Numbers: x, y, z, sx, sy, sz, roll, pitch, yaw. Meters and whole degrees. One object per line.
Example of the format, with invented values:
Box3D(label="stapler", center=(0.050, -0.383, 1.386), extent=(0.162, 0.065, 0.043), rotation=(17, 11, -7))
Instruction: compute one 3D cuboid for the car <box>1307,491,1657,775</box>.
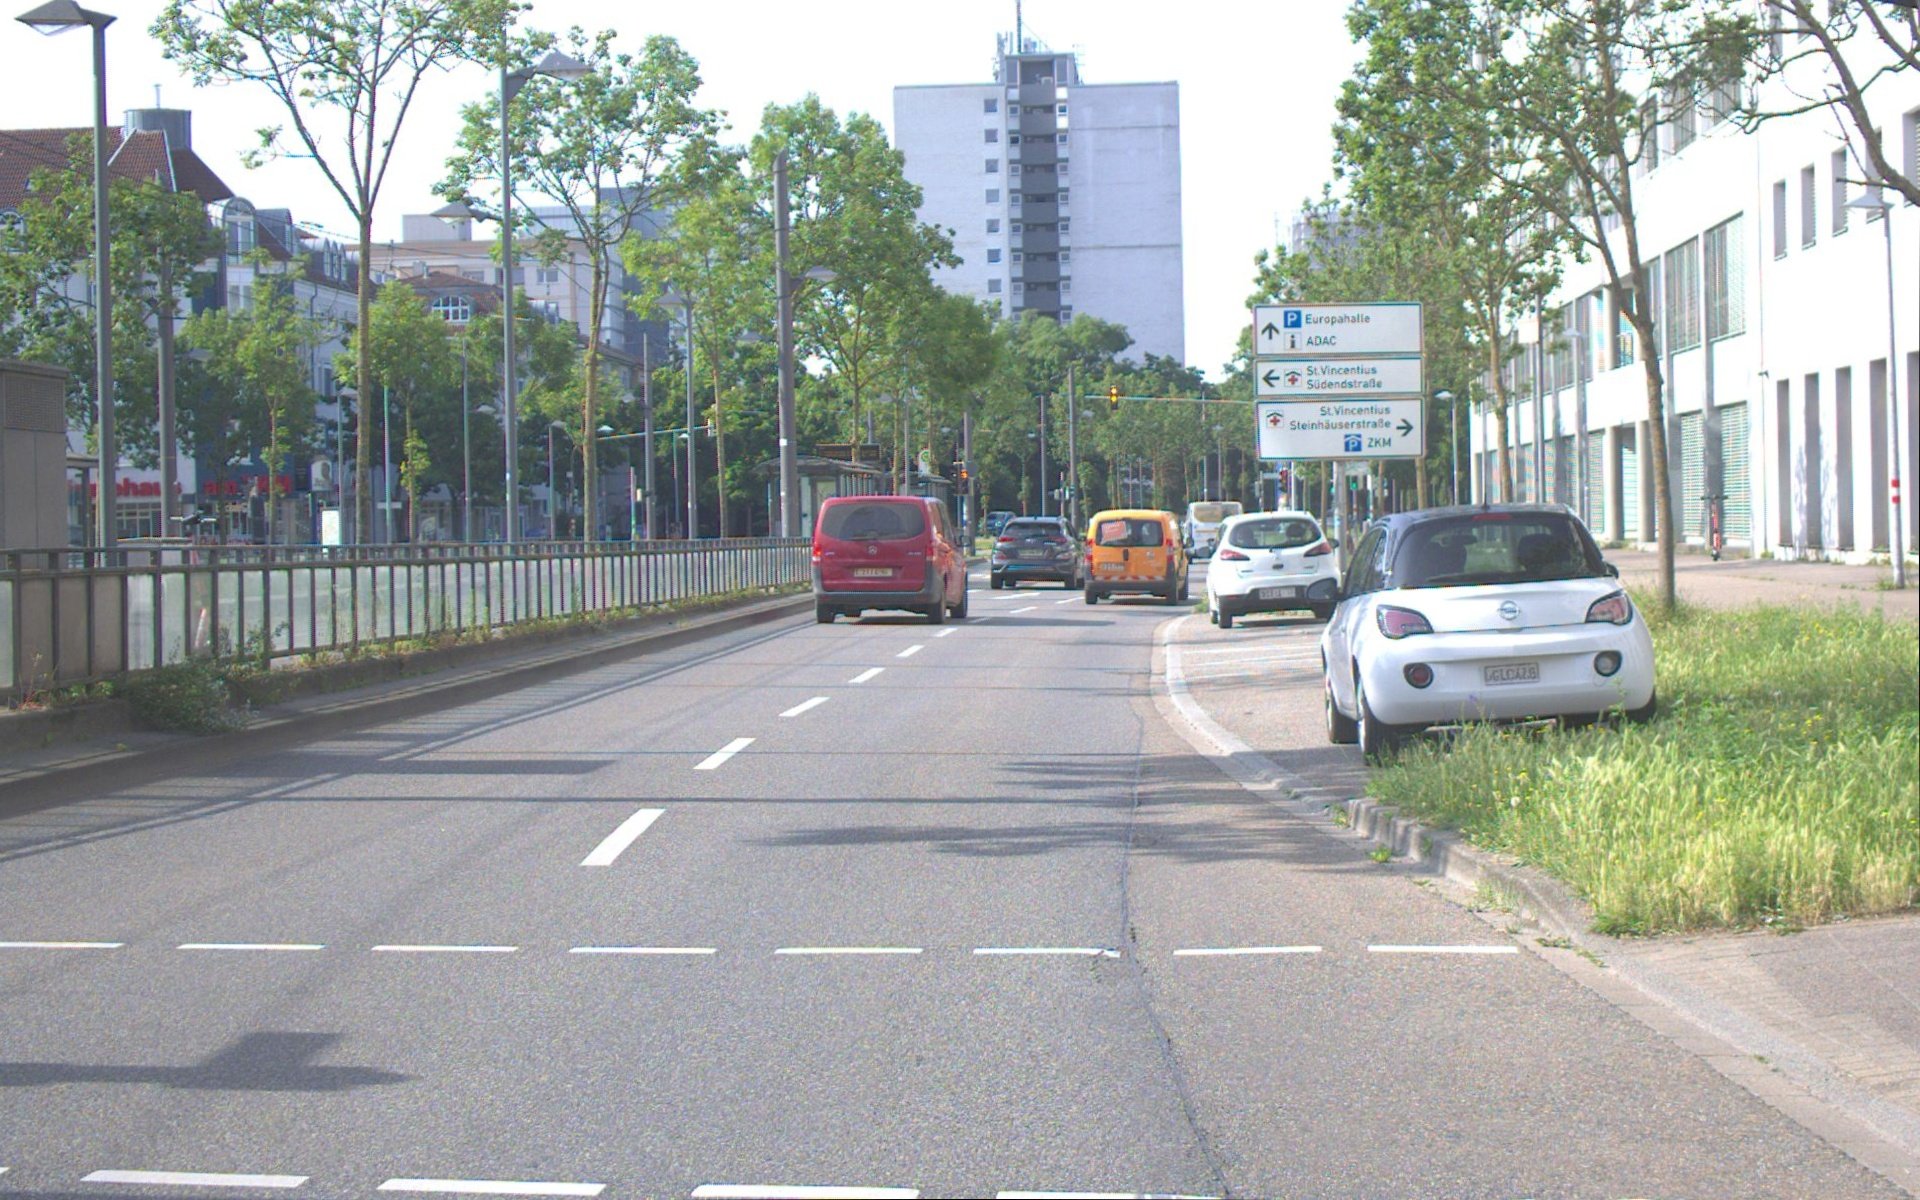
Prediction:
Box3D(label="car", center=(3.117, 0.129, 21.179), extent=(1.720, 1.513, 3.781), rotation=(-1, 2, 3))

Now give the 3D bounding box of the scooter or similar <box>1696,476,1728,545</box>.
Box3D(label="scooter or similar", center=(13.737, -1.639, 62.848), extent=(0.462, 1.209, 1.254), rotation=(-2, 2, 10))

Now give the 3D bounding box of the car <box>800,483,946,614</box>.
Box3D(label="car", center=(-1.255, -0.802, 51.090), extent=(1.874, 1.847, 4.000), rotation=(-1, 2, 2))

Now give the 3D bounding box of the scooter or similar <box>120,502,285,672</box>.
Box3D(label="scooter or similar", center=(-5.757, -0.107, 26.168), extent=(0.427, 1.234, 1.260), rotation=(-1, 2, 31))

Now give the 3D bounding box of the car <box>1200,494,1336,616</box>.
Box3D(label="car", center=(4.200, -0.652, 47.313), extent=(1.689, 1.521, 3.850), rotation=(-3, 2, 4))

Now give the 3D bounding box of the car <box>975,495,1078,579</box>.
Box3D(label="car", center=(1.460, -1.368, 73.890), extent=(1.994, 1.700, 4.000), rotation=(-1, 1, 4))

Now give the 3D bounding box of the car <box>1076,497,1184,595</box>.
Box3D(label="car", center=(3.153, -1.013, 63.105), extent=(1.876, 1.690, 3.973), rotation=(-1, 2, 4))

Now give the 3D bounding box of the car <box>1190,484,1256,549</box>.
Box3D(label="car", center=(8.442, -2.696, 110.671), extent=(1.994, 2.007, 4.000), rotation=(-1, 1, 4))
